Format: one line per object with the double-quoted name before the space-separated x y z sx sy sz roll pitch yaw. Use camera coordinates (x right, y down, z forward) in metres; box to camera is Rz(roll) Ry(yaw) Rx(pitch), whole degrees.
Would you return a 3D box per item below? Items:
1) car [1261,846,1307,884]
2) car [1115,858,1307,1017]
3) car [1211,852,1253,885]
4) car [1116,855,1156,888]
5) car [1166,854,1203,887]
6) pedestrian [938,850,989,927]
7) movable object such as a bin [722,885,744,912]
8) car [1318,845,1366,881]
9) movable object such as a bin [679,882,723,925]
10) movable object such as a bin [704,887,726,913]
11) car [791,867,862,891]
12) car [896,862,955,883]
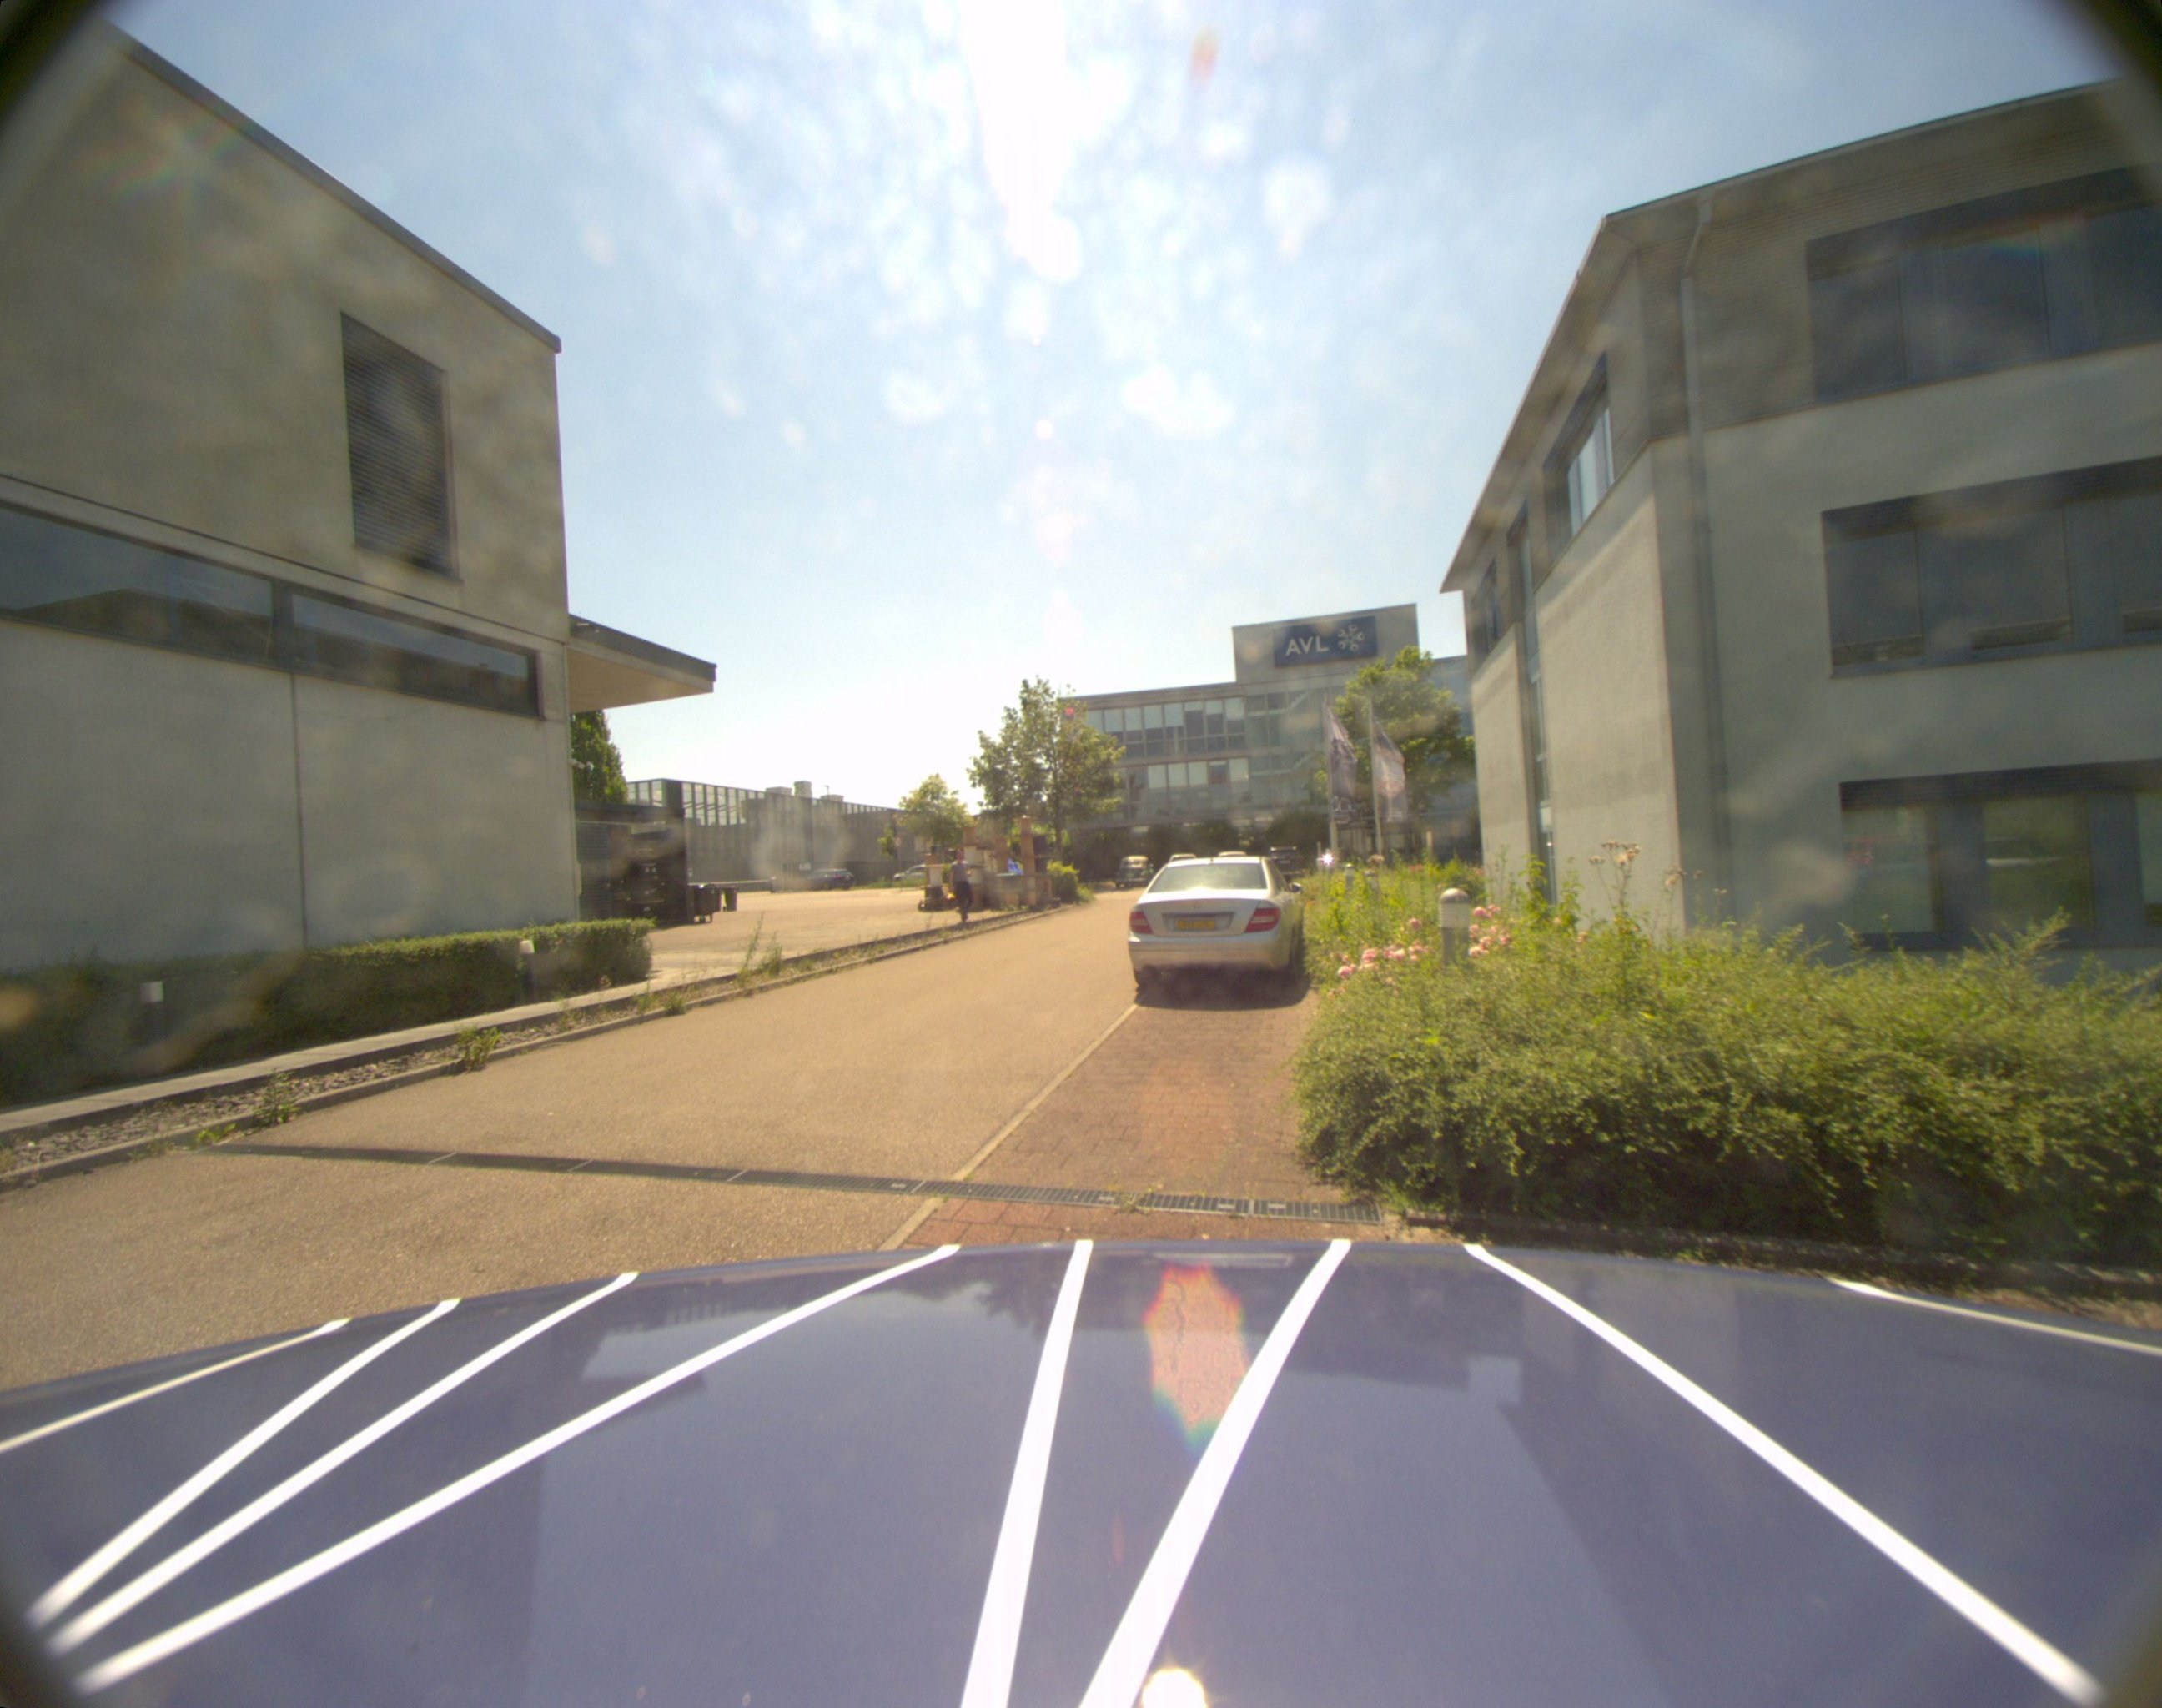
"car" 9.527 0.485 35.833 1.936 1.593 3.863 -2 1 13
"car" 1.838 0.842 9.466 1.731 1.448 4.153 -2 0 18
"car" 7.247 0.649 36.693 1.730 1.443 3.602 -2 1 8
"car" 2.720 0.816 37.018 1.520 1.437 3.422 -2 1 11
"car" 4.979 0.749 36.628 1.641 1.443 3.602 -2 1 8
"pedestrian" -2.827 0.810 18.246 0.767 1.758 0.810 -2 2 45
"movable object such as a bin" -12.942 1.648 28.252 0.585 0.912 0.547 -3 1 -10
"car" 11.990 0.389 35.129 1.728 1.475 4.402 -3 0 15
"movable object such as a bin" -11.834 1.533 23.671 0.874 1.242 0.803 -2 1 23
"movable object such as a bin" -13.547 1.688 28.127 0.585 0.912 0.547 -3 1 -10
"car" -17.018 1.701 50.834 4.435 1.401 1.863 -3 0 28
"car" -12.156 1.439 59.466 4.403 1.467 1.784 -3 0 31
